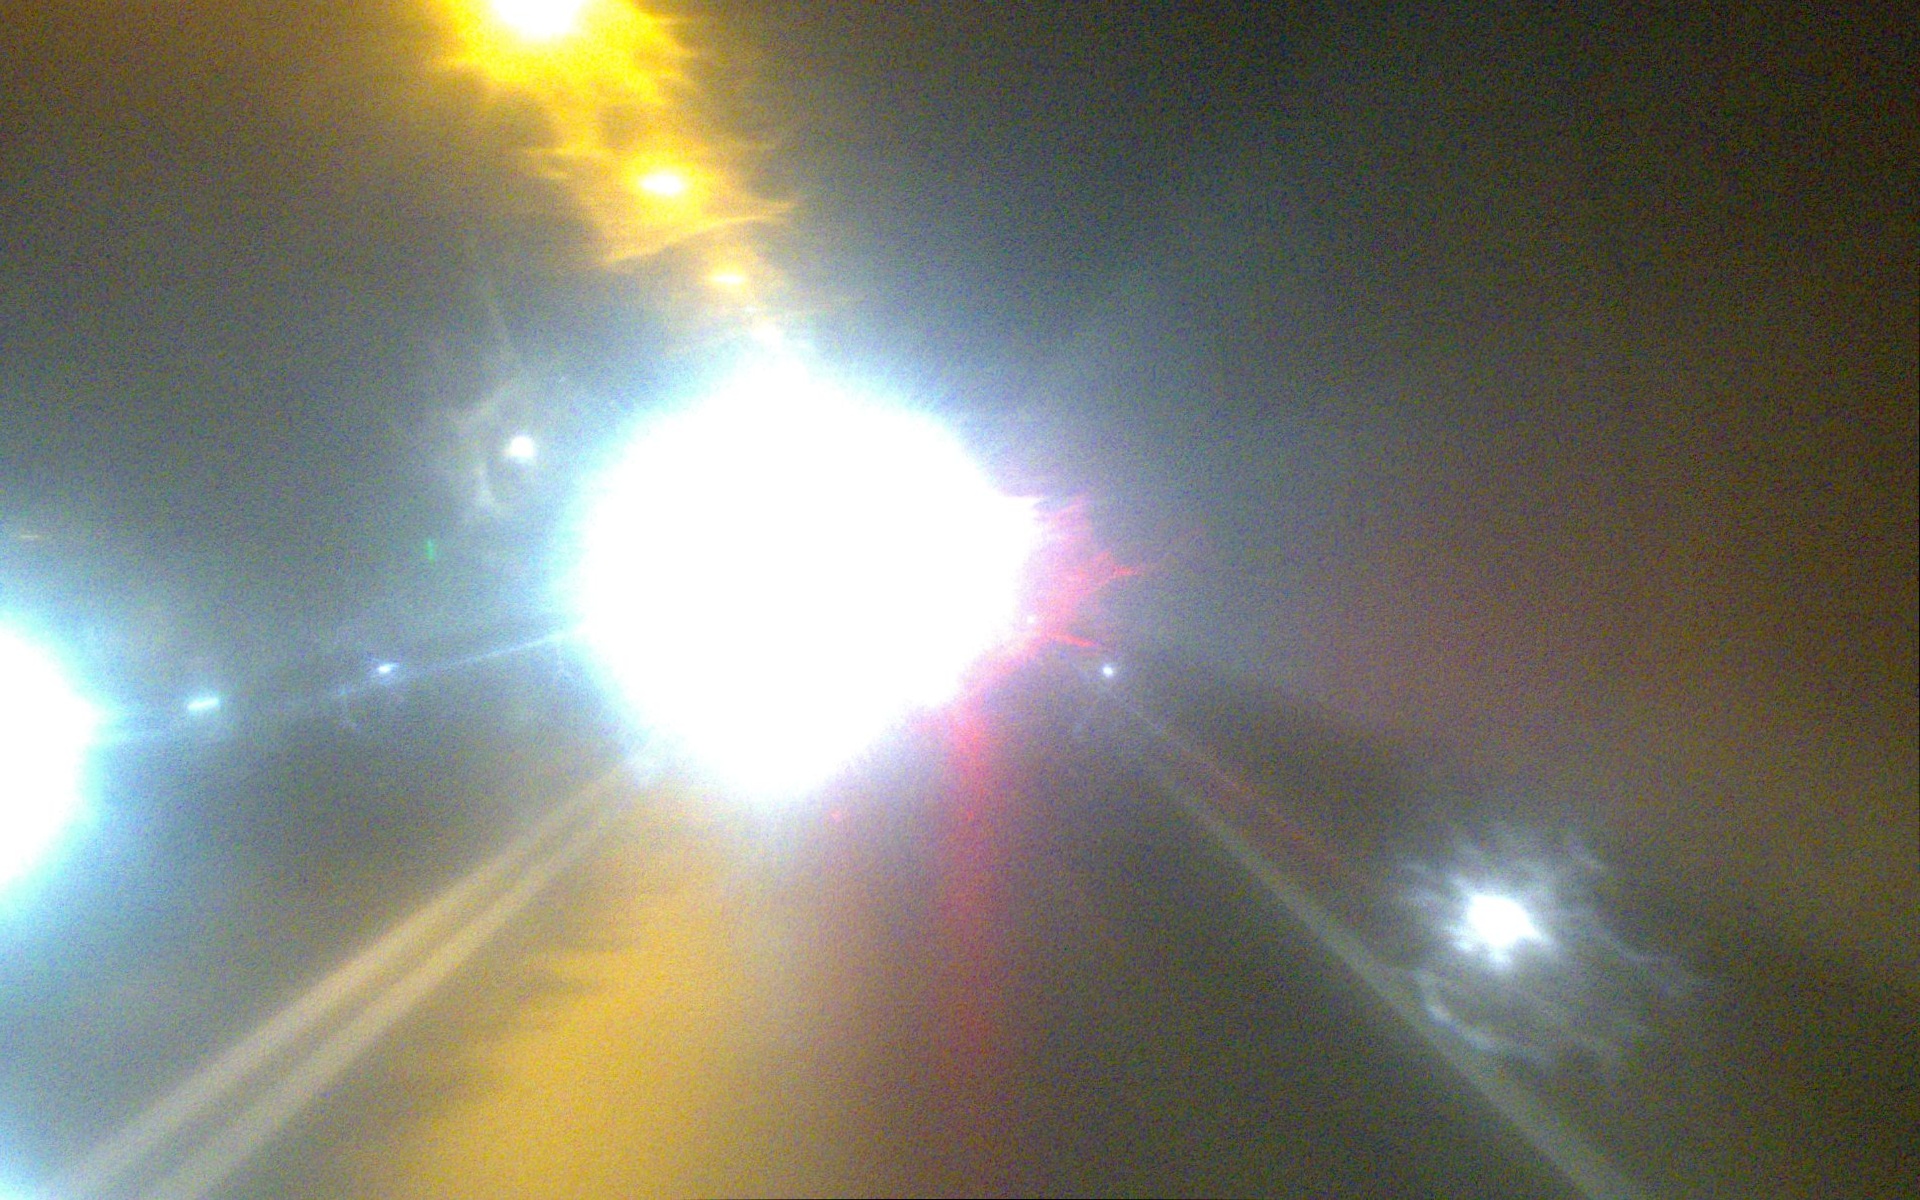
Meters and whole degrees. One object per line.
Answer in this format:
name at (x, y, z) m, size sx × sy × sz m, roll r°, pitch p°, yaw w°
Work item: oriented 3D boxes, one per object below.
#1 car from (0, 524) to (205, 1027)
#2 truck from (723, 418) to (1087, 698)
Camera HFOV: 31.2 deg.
car at (-3.909, 0.543, 11.902) m, size 1.748 × 1.579 × 4.000 m, roll 0°, pitch 1°, yaw -1°
truck at (-0.583, -0.494, 38.603) m, size 3.535 × 2.684 × 8.956 m, roll -2°, pitch 1°, yaw 0°
